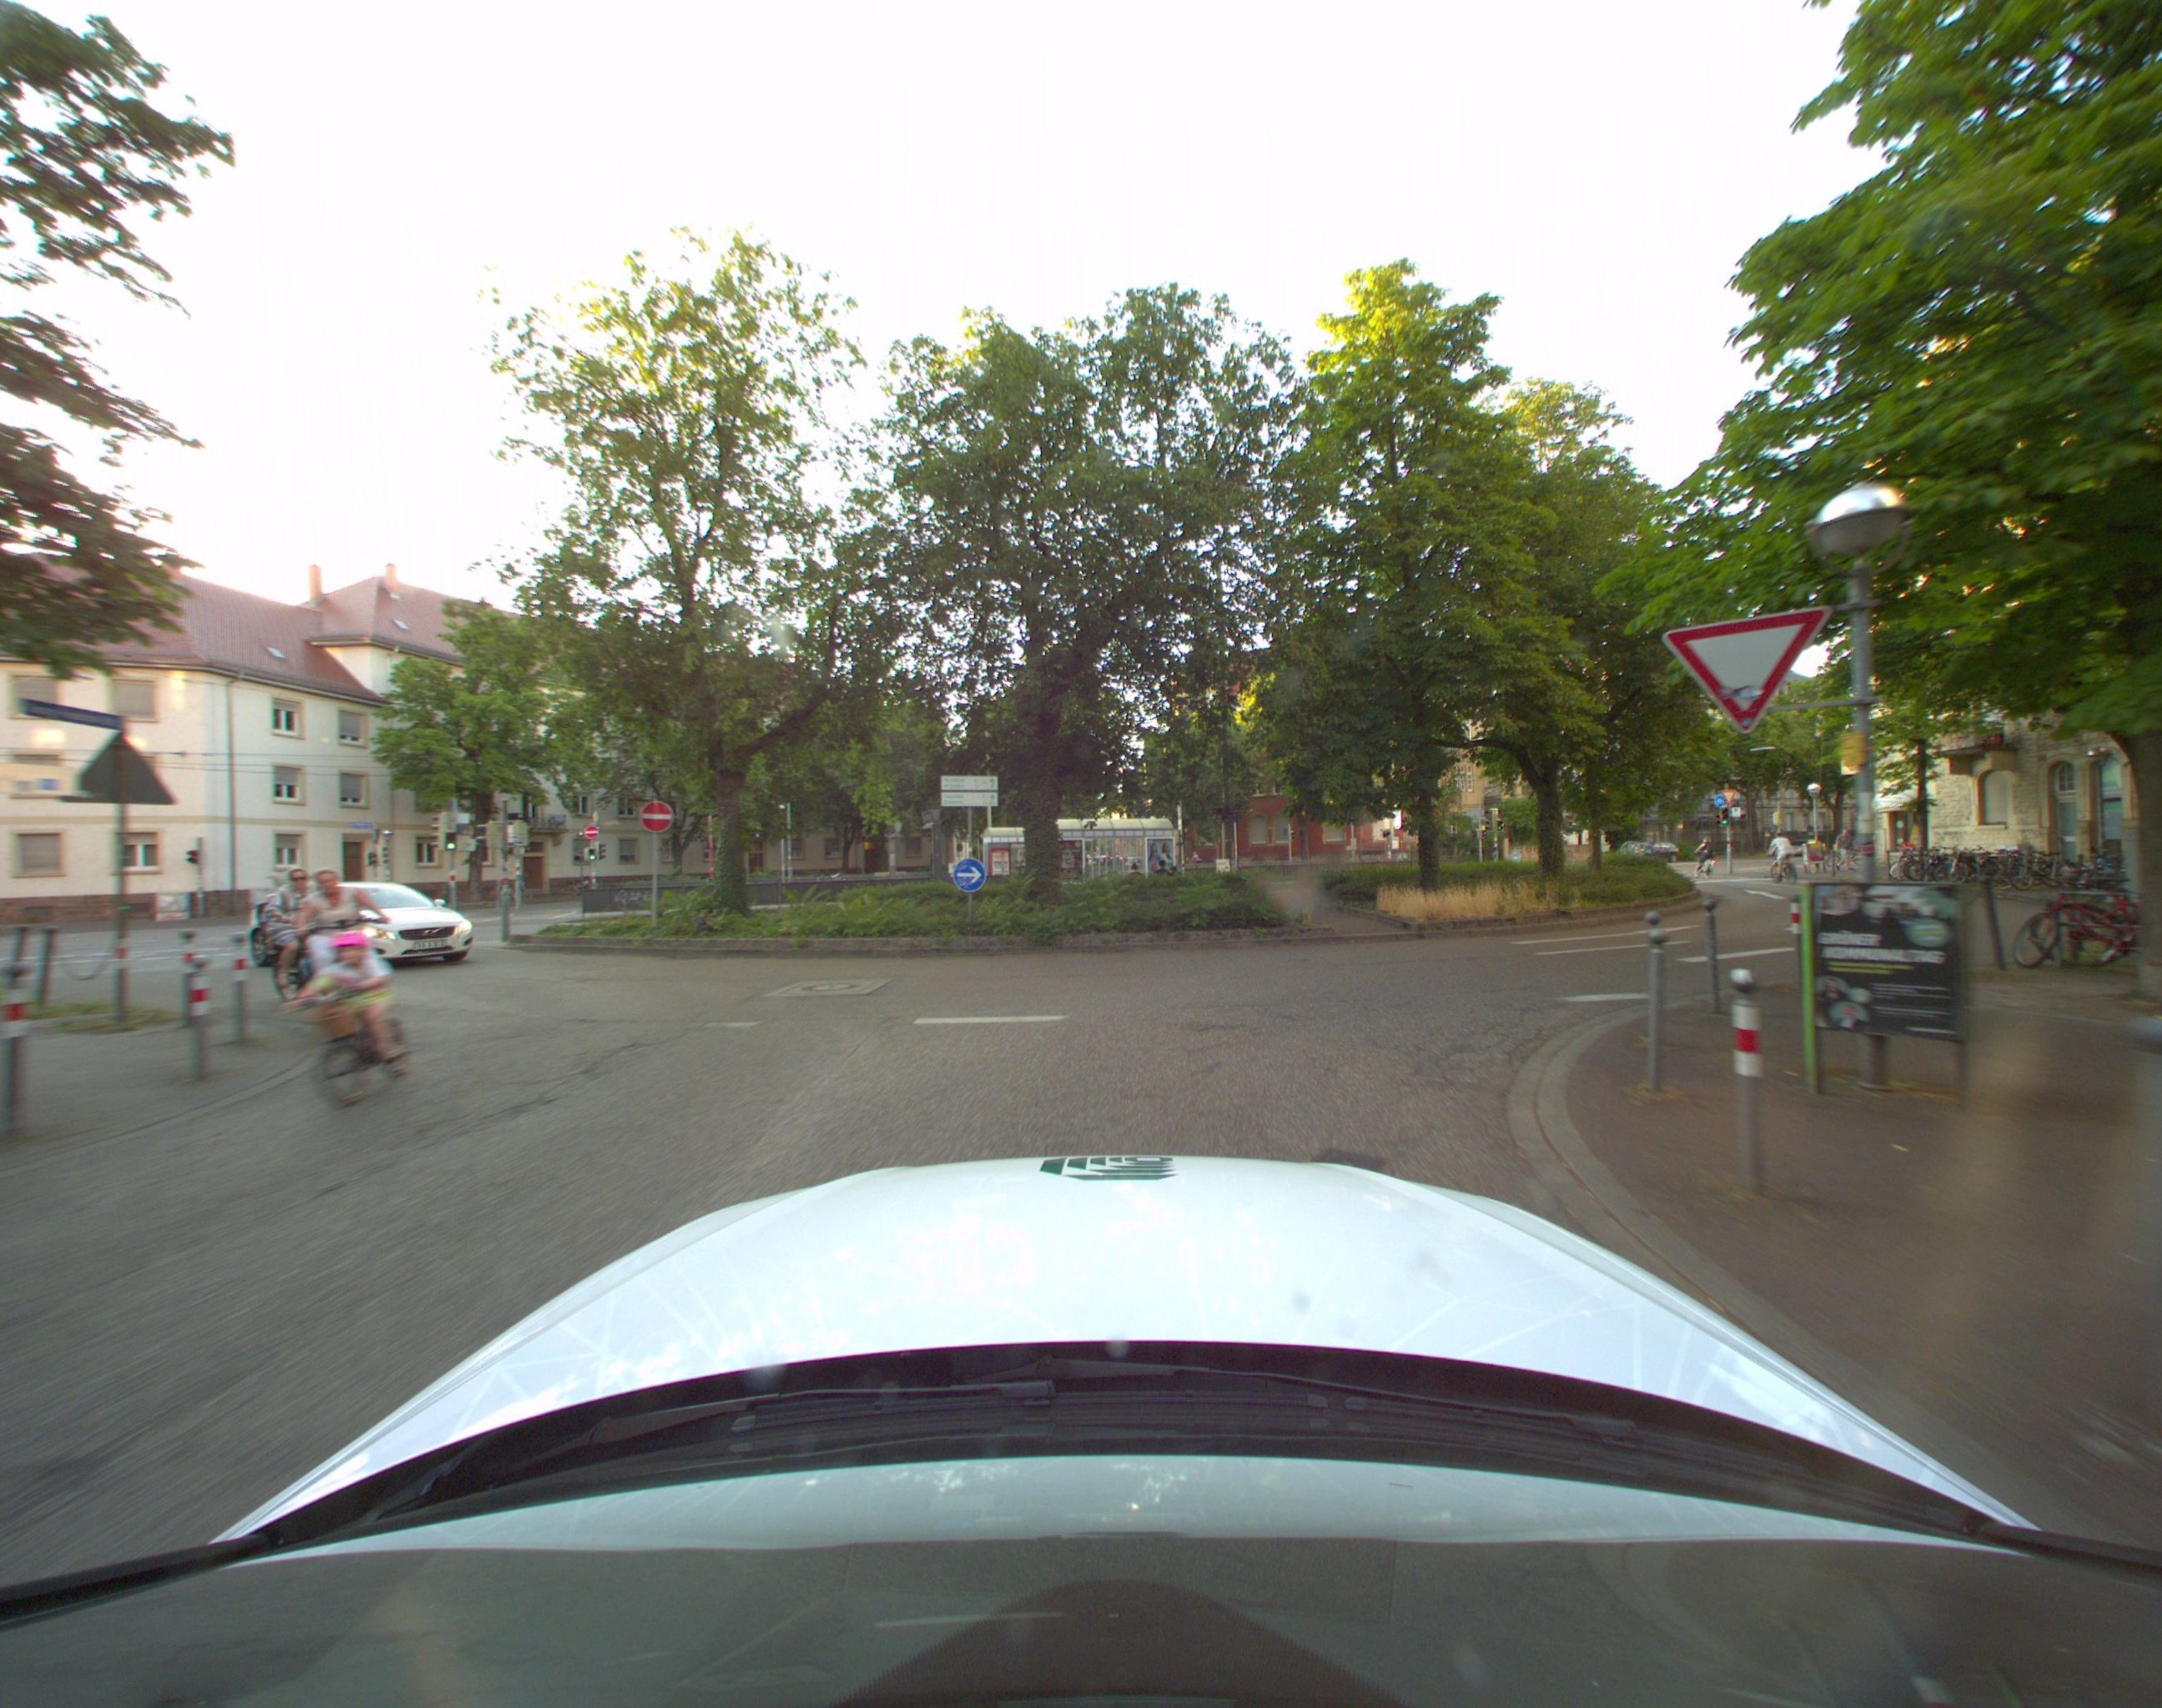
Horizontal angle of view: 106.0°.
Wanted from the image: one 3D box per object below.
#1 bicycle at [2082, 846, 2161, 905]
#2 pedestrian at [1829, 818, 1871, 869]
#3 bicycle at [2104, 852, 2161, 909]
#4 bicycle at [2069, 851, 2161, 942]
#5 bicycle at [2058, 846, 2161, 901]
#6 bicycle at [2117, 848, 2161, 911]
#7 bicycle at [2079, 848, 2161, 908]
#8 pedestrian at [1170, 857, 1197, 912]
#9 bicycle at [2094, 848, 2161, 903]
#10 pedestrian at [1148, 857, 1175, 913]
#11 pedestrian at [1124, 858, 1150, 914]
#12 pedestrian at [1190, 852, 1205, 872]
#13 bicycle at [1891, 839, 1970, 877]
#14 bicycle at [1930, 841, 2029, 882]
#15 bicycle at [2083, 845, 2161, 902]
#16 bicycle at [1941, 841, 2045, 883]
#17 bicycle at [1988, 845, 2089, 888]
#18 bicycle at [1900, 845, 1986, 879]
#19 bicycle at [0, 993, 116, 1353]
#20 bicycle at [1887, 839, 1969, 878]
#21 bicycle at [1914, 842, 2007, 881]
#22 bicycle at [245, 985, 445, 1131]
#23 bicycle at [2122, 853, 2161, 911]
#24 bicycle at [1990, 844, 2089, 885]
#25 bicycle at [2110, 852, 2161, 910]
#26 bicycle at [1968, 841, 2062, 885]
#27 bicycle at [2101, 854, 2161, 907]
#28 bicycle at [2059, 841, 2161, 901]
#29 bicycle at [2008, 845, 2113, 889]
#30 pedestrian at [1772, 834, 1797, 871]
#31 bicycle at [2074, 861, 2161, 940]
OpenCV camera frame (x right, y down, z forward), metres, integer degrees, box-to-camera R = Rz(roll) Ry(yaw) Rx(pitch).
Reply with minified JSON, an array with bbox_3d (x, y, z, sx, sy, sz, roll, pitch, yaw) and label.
[{"bbox_3d":[21.297,0.426,16.090,1.832,1.093,0.421,-2,-20,45],"label":"bicycle"},{"bbox_3d":[32.171,-0.438,34.073,1.001,2.085,1.067,-3,0,31],"label":"pedestrian"},{"bbox_3d":[20.512,0.483,15.116,0.421,1.051,1.832,-1,-1,-45],"label":"bicycle"},{"bbox_3d":[14.006,0.543,10.462,0.557,1.148,1.591,-1,-1,-33],"label":"bicycle"},{"bbox_3d":[22.699,0.414,17.662,1.861,1.139,0.495,0,4,32],"label":"bicycle"},{"bbox_3d":[19.797,0.450,14.367,0.421,1.116,1.833,-1,-1,-41],"label":"bicycle"},{"bbox_3d":[21.473,0.476,16.280,1.832,1.131,0.421,-2,-20,45],"label":"bicycle"},{"bbox_3d":[2.722,0.795,21.707,0.614,1.431,0.655,-2,0,1],"label":"pedestrian"},{"bbox_3d":[22.333,0.426,16.735,1.833,1.104,0.577,-2,-1,22],"label":"bicycle"},{"bbox_3d":[2.108,0.806,21.397,0.614,1.431,0.655,-2,0,1],"label":"pedestrian"},{"bbox_3d":[1.456,0.831,21.300,0.614,1.431,0.655,-2,0,1],"label":"pedestrian"},{"bbox_3d":[9.098,0.627,63.719,0.856,1.526,0.720,-2,0,38],"label":"pedestrian"},{"bbox_3d":[29.225,0.126,28.042,1.773,1.236,0.654,-2,-1,16],"label":"bicycle"},{"bbox_3d":[27.061,0.237,24.578,1.867,1.162,0.644,-2,-1,29],"label":"bicycle"},{"bbox_3d":[21.814,0.396,16.511,0.421,1.144,1.832,-1,-1,-45],"label":"bicycle"},{"bbox_3d":[26.718,0.244,23.892,1.867,1.162,0.709,-2,-1,29],"label":"bicycle"},{"bbox_3d":[25.293,0.330,21.542,1.654,1.078,0.489,-2,-1,27],"label":"bicycle"},{"bbox_3d":[27.979,0.269,26.469,1.786,1.038,0.703,-2,-1,18],"label":"bicycle"},{"bbox_3d":[-3.768,1.072,1.954,0.649,1.107,2.010,-2,0,-7],"label":"bicycle"},{"bbox_3d":[28.330,0.165,27.267,1.773,1.236,0.703,-2,-1,18],"label":"bicycle"},{"bbox_3d":[27.282,0.236,25.301,1.870,1.162,0.643,-2,-1,18],"label":"bicycle"},{"bbox_3d":[-5.159,1.387,5.820,0.653,0.642,1.451,-2,0,-25],"label":"bicycle"},{"bbox_3d":[19.579,0.475,14.122,0.421,1.014,1.833,-1,-1,-41],"label":"bicycle"},{"bbox_3d":[26.140,0.295,22.253,1.653,1.078,0.489,-2,-1,35],"label":"bicycle"},{"bbox_3d":[20.201,0.483,14.736,0.538,1.061,1.897,-1,-1,-44],"label":"bicycle"},{"bbox_3d":[26.010,0.270,22.706,1.653,1.127,0.490,-2,6,36],"label":"bicycle"},{"bbox_3d":[20.715,0.491,15.328,0.421,0.999,1.832,-1,-1,-45],"label":"bicycle"},{"bbox_3d":[22.374,0.372,17.364,0.495,1.217,1.862,7,-7,-44],"label":"bicycle"},{"bbox_3d":[25.215,0.332,20.999,1.654,1.078,0.489,-2,-1,27],"label":"bicycle"},{"bbox_3d":[35.421,-0.076,41.009,0.859,1.794,0.930,-2,0,40],"label":"pedestrian"},{"bbox_3d":[14.376,0.605,10.711,0.557,1.020,1.591,-1,-1,-33],"label":"bicycle"}]
